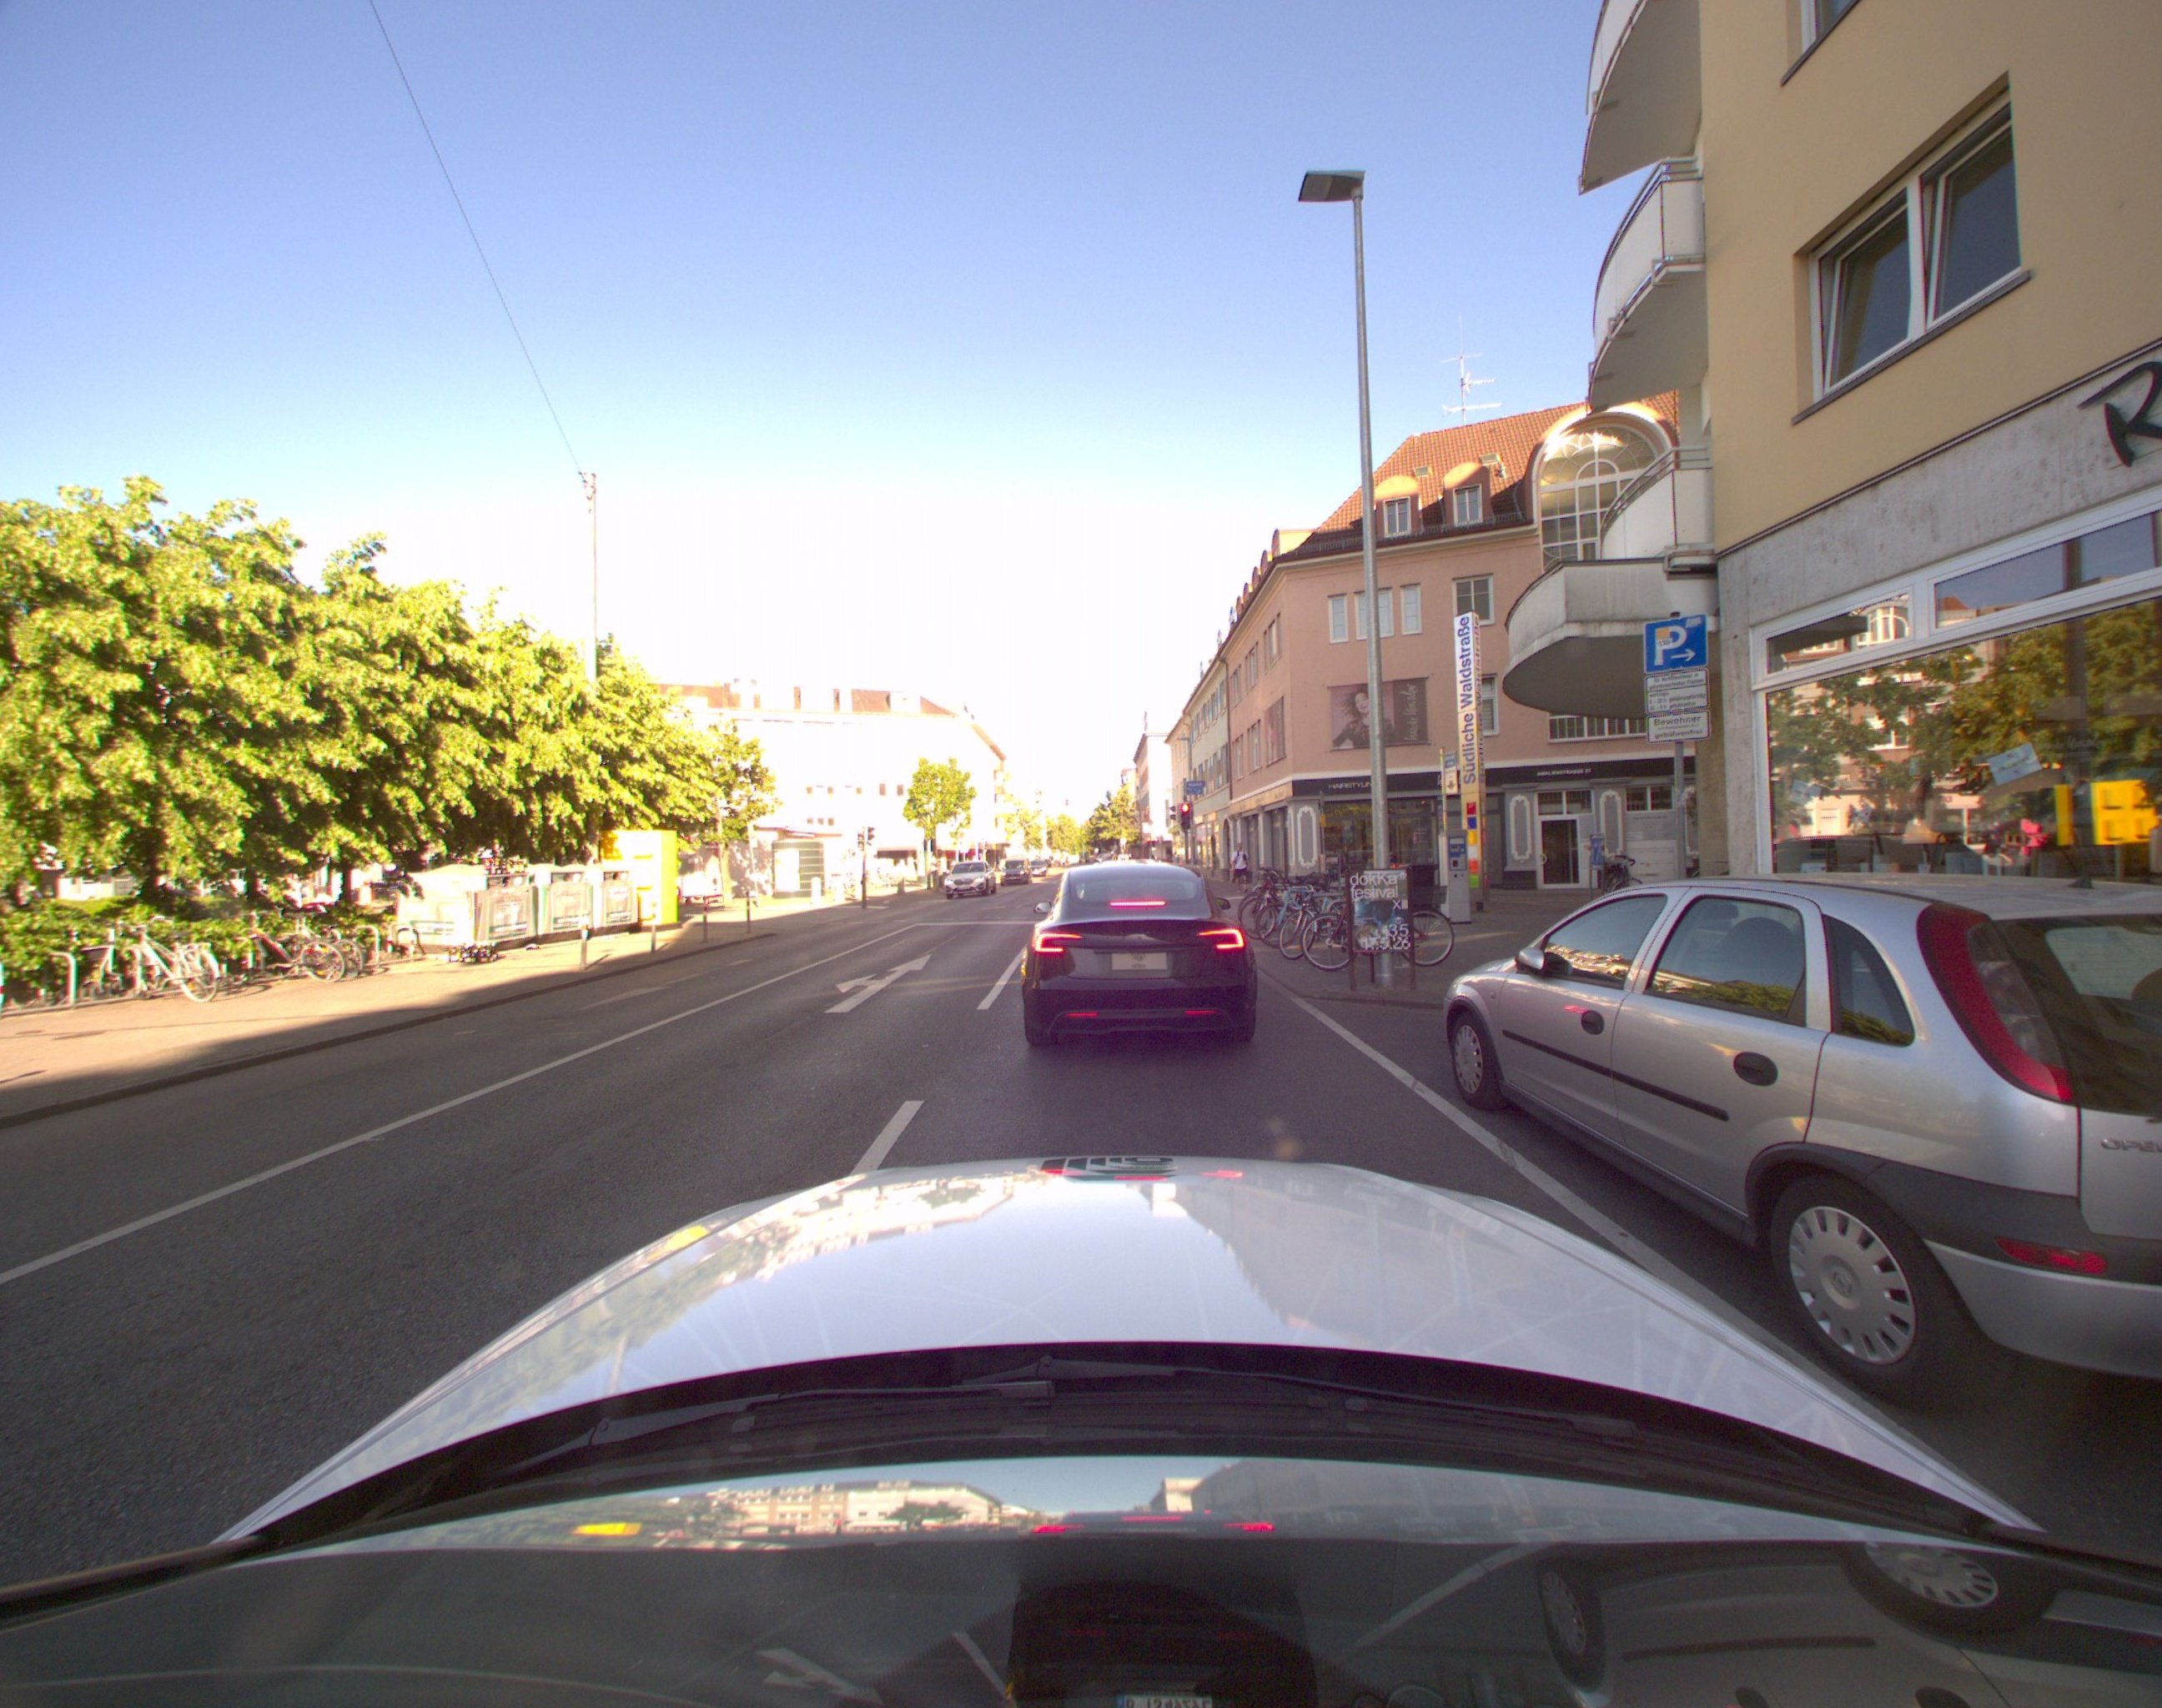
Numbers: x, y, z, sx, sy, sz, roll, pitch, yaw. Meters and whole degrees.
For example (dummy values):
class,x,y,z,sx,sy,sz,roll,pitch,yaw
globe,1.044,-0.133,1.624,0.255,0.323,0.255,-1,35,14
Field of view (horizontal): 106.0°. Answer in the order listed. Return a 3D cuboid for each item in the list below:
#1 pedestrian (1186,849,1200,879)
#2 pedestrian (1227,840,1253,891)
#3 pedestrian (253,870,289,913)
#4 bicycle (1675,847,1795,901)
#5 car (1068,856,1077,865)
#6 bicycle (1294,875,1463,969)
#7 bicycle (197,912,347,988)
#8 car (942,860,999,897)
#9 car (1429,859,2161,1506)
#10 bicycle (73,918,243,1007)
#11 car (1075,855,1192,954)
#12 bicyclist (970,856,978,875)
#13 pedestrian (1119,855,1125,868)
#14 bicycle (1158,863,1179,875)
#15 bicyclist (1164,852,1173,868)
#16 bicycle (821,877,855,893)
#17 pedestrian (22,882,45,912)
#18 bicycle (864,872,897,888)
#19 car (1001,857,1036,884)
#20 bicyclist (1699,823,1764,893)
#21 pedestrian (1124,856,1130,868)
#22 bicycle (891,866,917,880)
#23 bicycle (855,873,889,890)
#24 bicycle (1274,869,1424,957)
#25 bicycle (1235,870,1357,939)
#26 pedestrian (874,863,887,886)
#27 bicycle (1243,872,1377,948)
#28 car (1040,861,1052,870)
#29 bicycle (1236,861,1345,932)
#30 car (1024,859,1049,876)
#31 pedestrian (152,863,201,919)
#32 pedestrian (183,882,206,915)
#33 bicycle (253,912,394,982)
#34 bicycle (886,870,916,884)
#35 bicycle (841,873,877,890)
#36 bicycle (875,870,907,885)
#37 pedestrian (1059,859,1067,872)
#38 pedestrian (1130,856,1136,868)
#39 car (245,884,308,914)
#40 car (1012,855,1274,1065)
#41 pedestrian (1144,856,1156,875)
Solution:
class,x,y,z,sx,sy,sz,roll,pitch,yaw
pedestrian,6.631,0.592,48.251,0.704,1.742,0.540,-1,0,1
pedestrian,5.778,0.417,29.634,0.747,1.765,0.838,-3,-1,6
pedestrian,-32.347,1.485,32.511,0.754,1.698,0.793,-1,0,25
bicycle,14.328,0.440,17.902,1.920,1.118,0.711,-1,-1,14
car,-1.897,1.572,187.429,1.986,2.013,4.001,-1,0,2
bicycle,3.625,0.836,10.009,1.862,1.038,0.354,-3,-1,8
bicycle,-11.522,1.351,11.611,1.913,1.003,0.518,-1,-1,11
car,-4.873,1.045,36.383,1.782,1.460,3.759,-4,-1,2
car,2.955,0.735,3.514,1.540,1.390,3.479,-1,-1,3
bicycle,-11.627,1.341,10.263,1.919,1.015,0.518,-1,-1,12
car,0.792,0.748,13.919,1.712,1.425,3.757,-1,0,0
bicyclist,-8.752,0.950,66.435,0.525,1.503,0.473,0,-1,-22
pedestrian,4.849,0.884,95.709,0.474,1.417,0.517,0,-1,-29
bicycle,7.680,1.297,71.280,1.787,1.007,0.469,0,-1,-15
bicyclist,7.638,0.513,71.278,0.670,1.395,0.460,0,-1,-14
bicycle,-12.839,1.633,43.066,1.640,0.792,0.606,0,-1,-3
pedestrian,-77.800,3.189,60.490,0.891,2.171,0.882,-1,-1,26
bicycle,-12.377,1.606,50.227,1.857,0.934,0.606,0,-1,0
car,-4.061,1.066,53.252,1.780,1.646,4.404,-1,0,2
bicyclist,14.300,0.087,17.913,0.884,1.482,0.704,-1,-1,14
pedestrian,5.368,0.971,94.907,0.524,1.422,0.475,0,-1,-28
bicycle,-17.078,1.816,78.476,2.373,1.296,0.509,0,-1,-25
bicycle,-12.253,1.615,47.749,1.857,0.934,0.606,0,-1,0
bicycle,3.647,0.805,11.175,1.864,1.087,0.415,-3,-1,5
bicycle,3.577,0.839,13.655,1.863,1.038,0.548,-3,-1,7
pedestrian,-17.589,1.808,71.362,1.060,2.014,1.049,0,-1,-18
bicycle,3.491,0.850,12.499,1.864,1.038,0.534,-3,-1,5
car,-6.252,2.056,146.457,1.699,1.552,3.700,-1,0,3
bicycle,3.774,0.758,14.772,1.818,1.169,0.507,-3,-1,7
car,-3.737,1.135,68.873,1.709,1.446,3.846,0,-1,2
pedestrian,-33.343,1.344,30.029,0.890,2.013,0.893,-1,0,15
pedestrian,-48.853,2.442,44.876,0.842,1.717,0.761,-2,-1,35
bicycle,-11.324,1.373,12.187,1.888,0.955,0.518,-1,-1,11
bicycle,-12.188,1.545,55.040,1.857,0.934,0.606,-1,0,0
bicycle,-12.428,1.547,45.638,1.857,0.934,0.606,-1,0,0
bicycle,-12.268,1.526,52.592,1.857,0.934,0.606,-1,0,0
pedestrian,-2.424,1.556,110.619,0.840,1.695,0.722,-2,0,31
pedestrian,6.067,0.933,95.846,0.524,1.422,0.475,0,-1,-28
car,-41.083,2.251,41.557,3.526,1.386,1.703,-1,0,36
car,0.495,0.761,7.738,1.815,1.442,4.001,-1,-1,2
pedestrian,5.903,0.950,69.533,0.756,1.631,0.951,0,-1,-16
